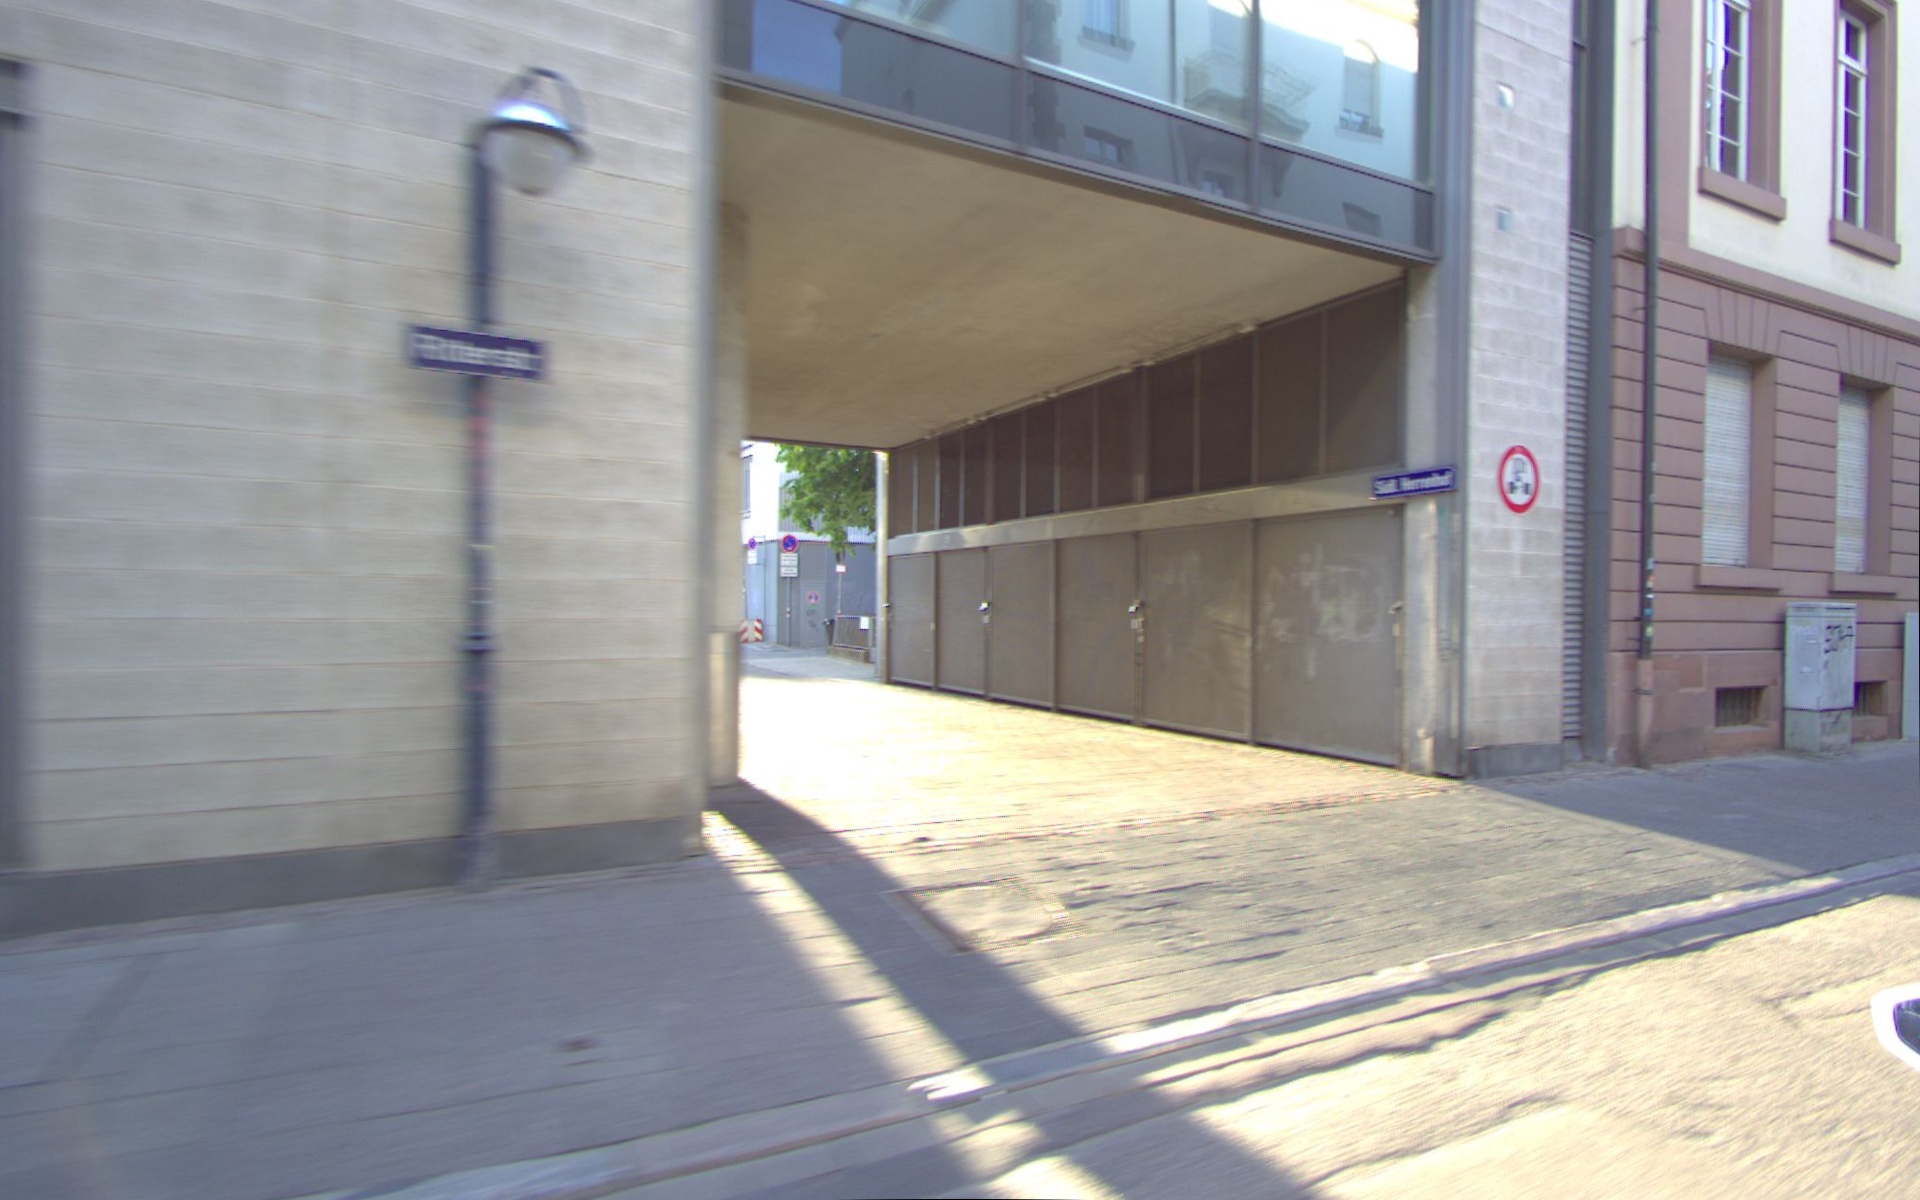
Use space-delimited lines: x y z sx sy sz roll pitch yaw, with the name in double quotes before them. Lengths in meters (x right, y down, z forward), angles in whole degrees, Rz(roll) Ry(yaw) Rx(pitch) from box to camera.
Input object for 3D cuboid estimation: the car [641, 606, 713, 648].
"car" -10.434 0.933 36.842 1.695 1.434 3.884 0 0 -29
